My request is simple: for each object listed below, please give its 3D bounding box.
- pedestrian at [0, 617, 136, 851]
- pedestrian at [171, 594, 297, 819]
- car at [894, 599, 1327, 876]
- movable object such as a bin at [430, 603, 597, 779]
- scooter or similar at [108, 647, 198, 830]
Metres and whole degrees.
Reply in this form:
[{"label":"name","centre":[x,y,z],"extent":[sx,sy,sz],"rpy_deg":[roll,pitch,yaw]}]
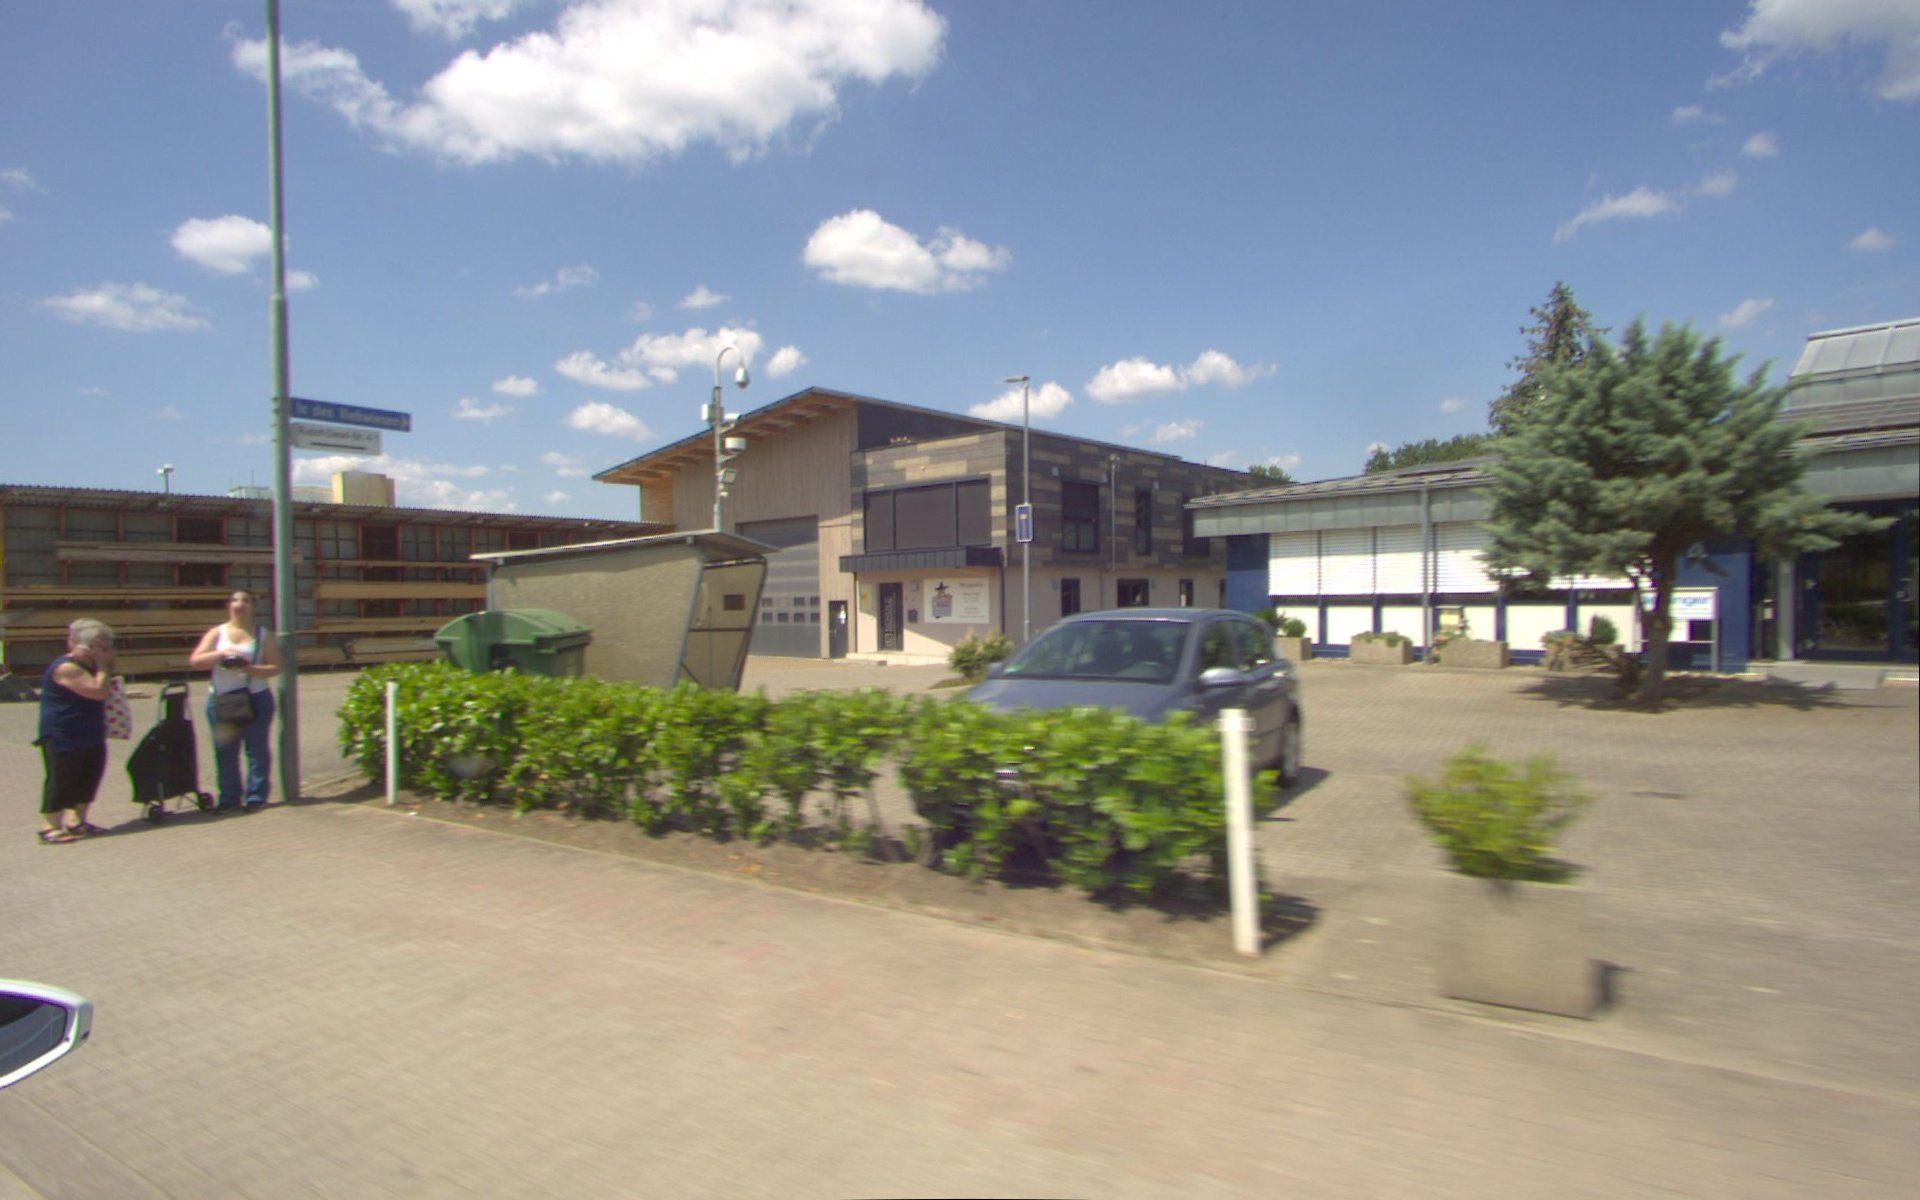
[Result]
[{"label":"pedestrian","centre":[-5.891,0.841,6.549],"extent":[0.575,1.423,0.564],"rpy_deg":[-2,0,31]},{"label":"pedestrian","centre":[-5.304,0.749,7.322],"extent":[0.503,1.560,0.534],"rpy_deg":[-2,0,31]},{"label":"car","centre":[1.363,0.761,7.439],"extent":[1.792,1.474,3.837],"rpy_deg":[0,-1,32]},{"label":"movable object such as a bin","centre":[-4.002,0.783,9.103],"extent":[1.029,1.477,1.267],"rpy_deg":[0,-1,-5]},{"label":"scooter or similar","centre":[-5.622,0.944,6.976],"extent":[0.392,1.213,0.333],"rpy_deg":[-2,1,32]}]
